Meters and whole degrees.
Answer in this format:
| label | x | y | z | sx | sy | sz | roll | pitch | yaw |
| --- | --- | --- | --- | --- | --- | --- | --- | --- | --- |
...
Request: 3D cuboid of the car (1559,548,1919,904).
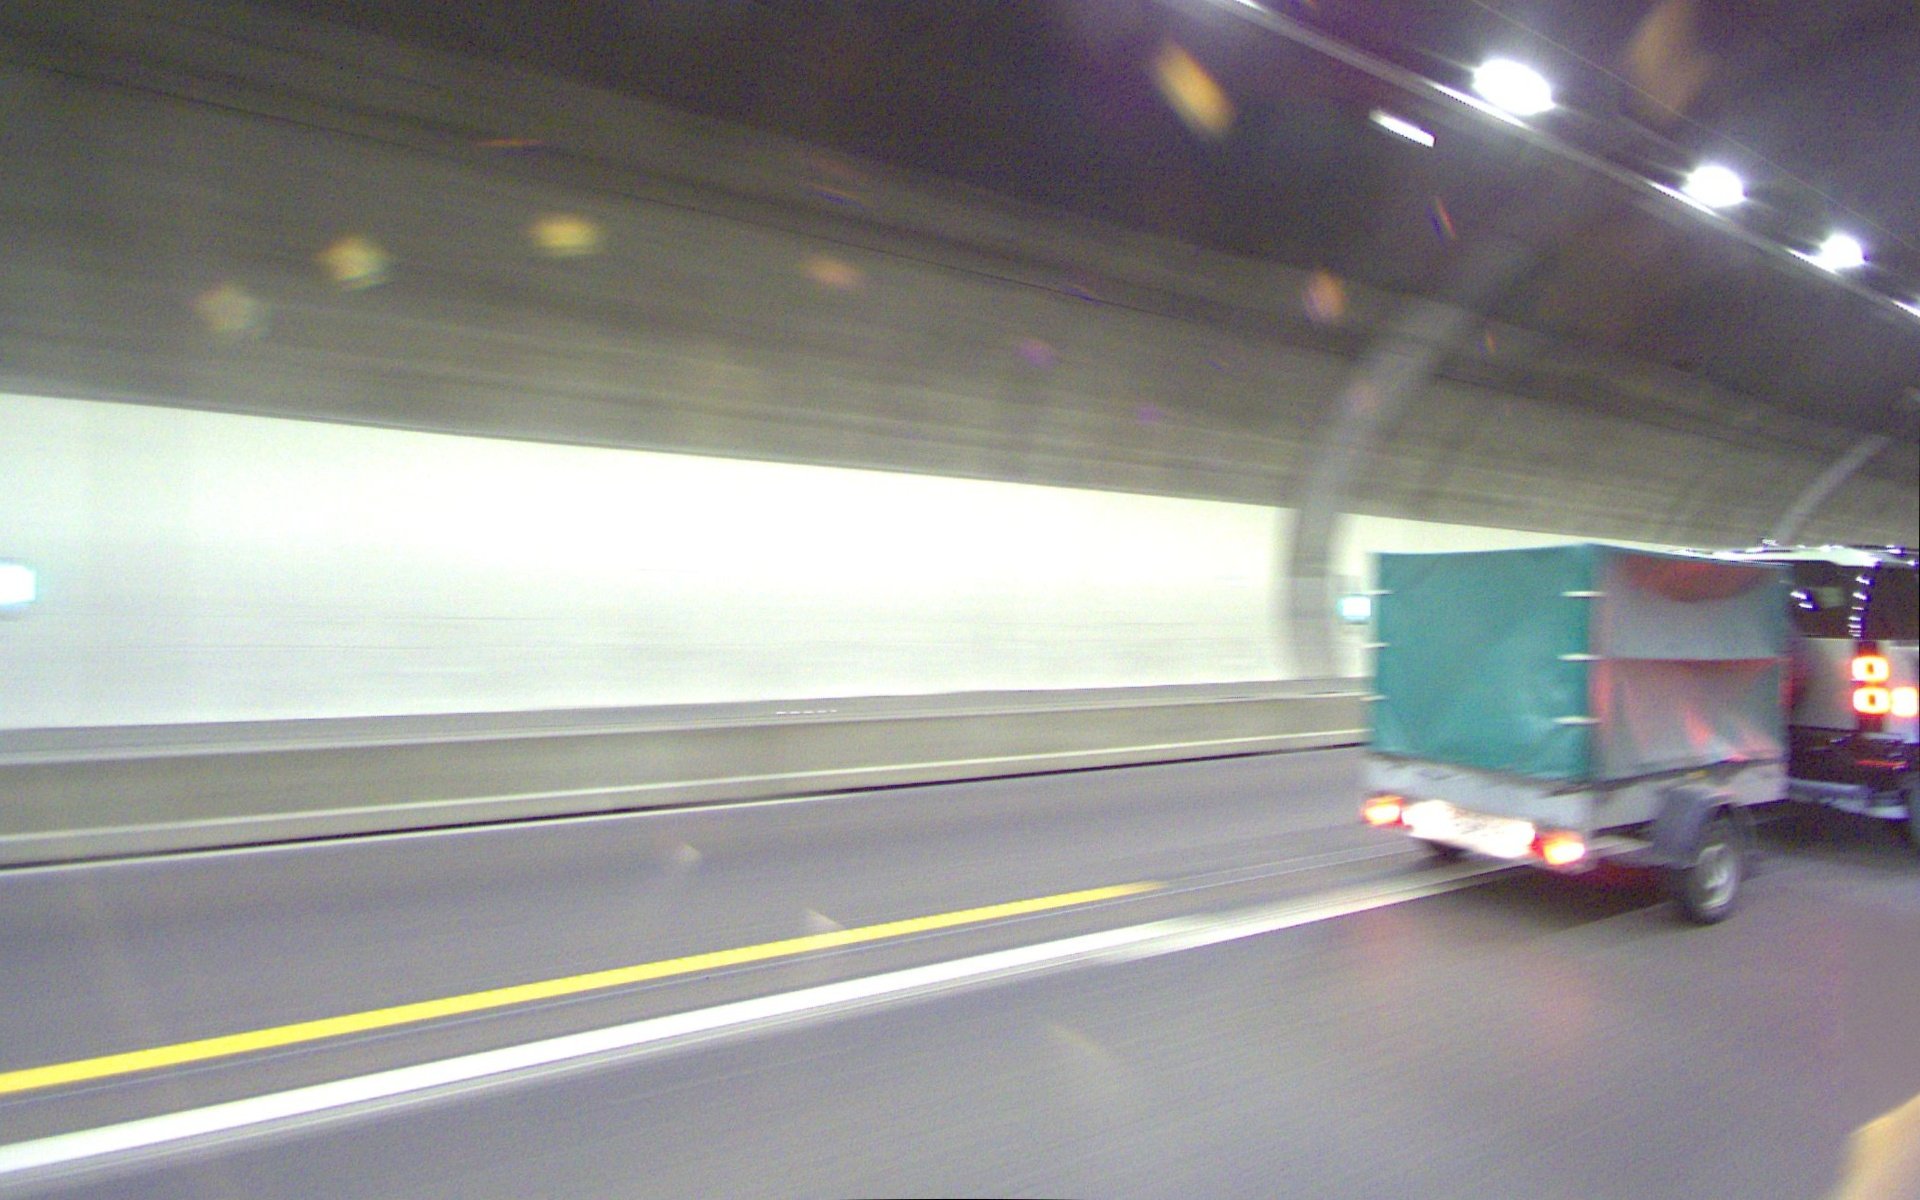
| label | x | y | z | sx | sy | sz | roll | pitch | yaw |
| --- | --- | --- | --- | --- | --- | --- | --- | --- | --- |
| car | 7.080 | 0.704 | 7.590 | 5.389 | 1.920 | 1.984 | 1 | 1 | -30 |
